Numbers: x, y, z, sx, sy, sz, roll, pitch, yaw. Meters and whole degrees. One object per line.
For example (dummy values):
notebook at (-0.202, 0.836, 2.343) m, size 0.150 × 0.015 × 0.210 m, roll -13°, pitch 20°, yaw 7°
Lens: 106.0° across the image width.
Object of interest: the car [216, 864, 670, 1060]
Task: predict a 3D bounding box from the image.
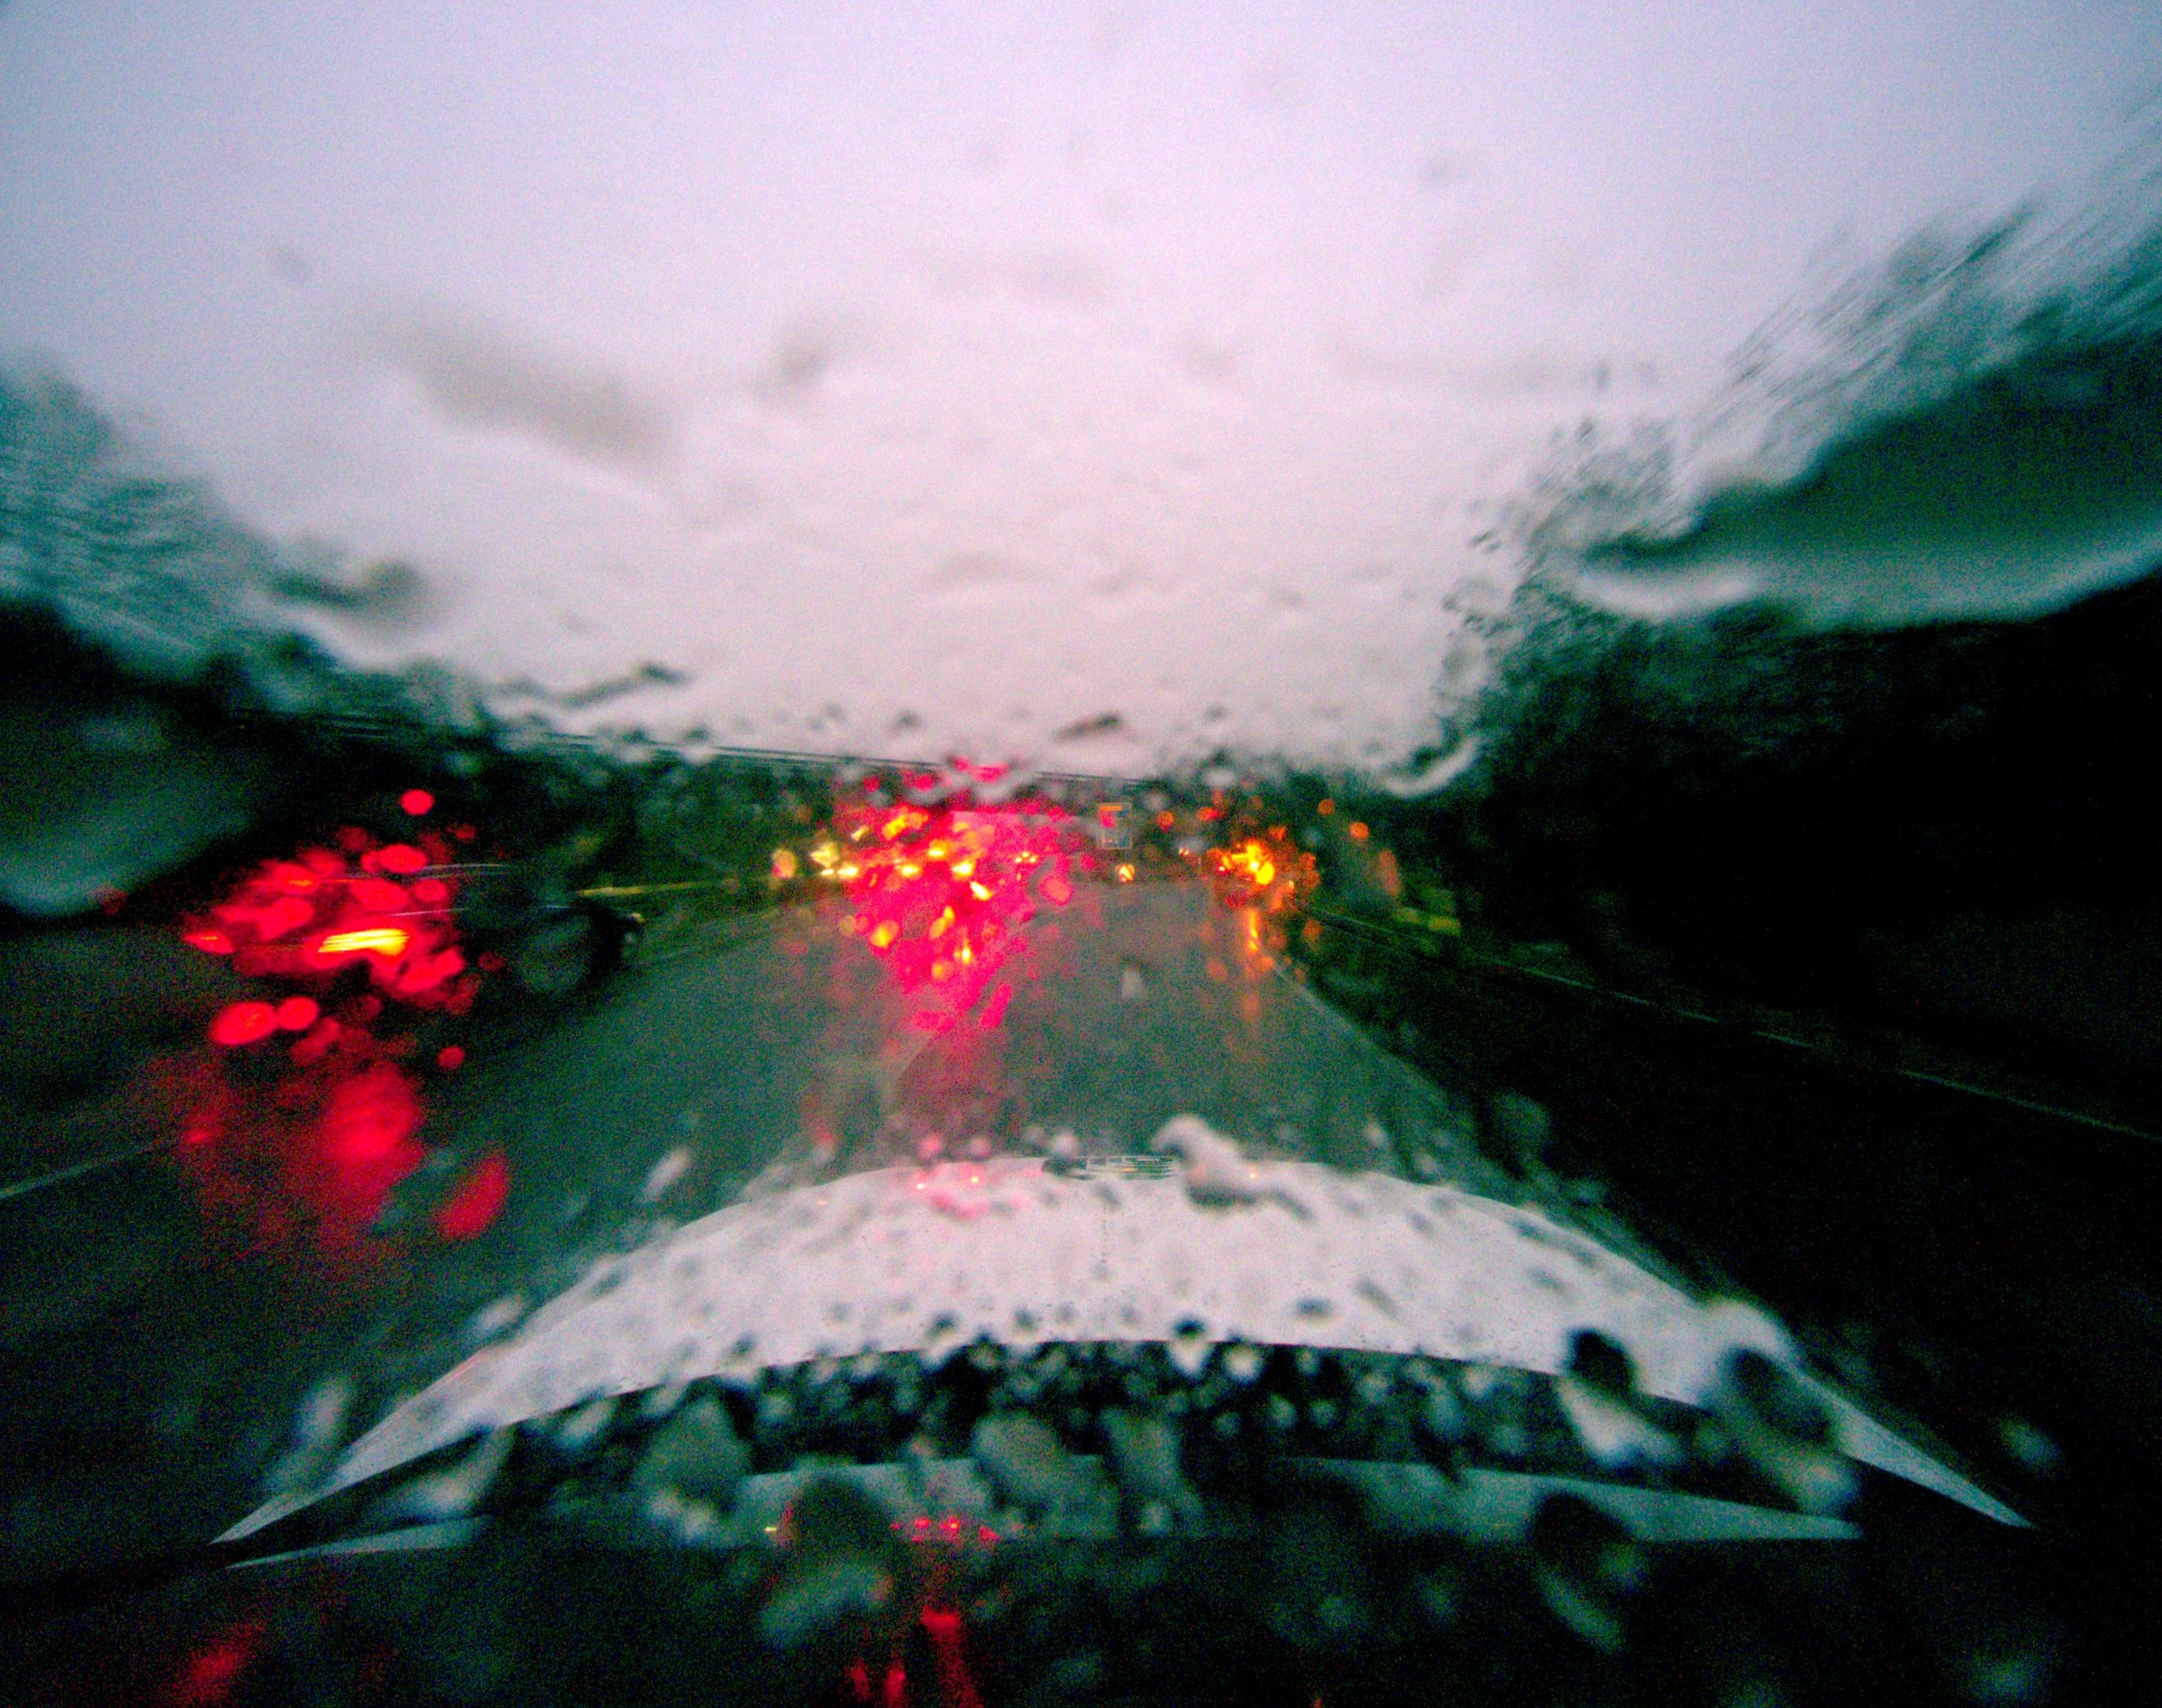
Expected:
car at (-6.821, 0.988, 9.510) m, size 1.794 × 1.467 × 4.409 m, roll -7°, pitch 1°, yaw -3°

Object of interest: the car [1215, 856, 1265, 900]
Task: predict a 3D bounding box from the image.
car at (5.974, 0.859, 30.759) m, size 1.721 × 1.429 × 3.776 m, roll -2°, pitch 0°, yaw 10°

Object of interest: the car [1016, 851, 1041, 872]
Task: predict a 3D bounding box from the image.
car at (-4.641, 0.652, 72.078) m, size 1.872 × 1.617 × 3.876 m, roll 0°, pitch 2°, yaw 1°

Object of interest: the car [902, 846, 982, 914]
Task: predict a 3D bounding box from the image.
car at (-3.840, 0.658, 23.118) m, size 1.992 × 1.664 × 3.990 m, roll -2°, pitch 0°, yaw -7°
